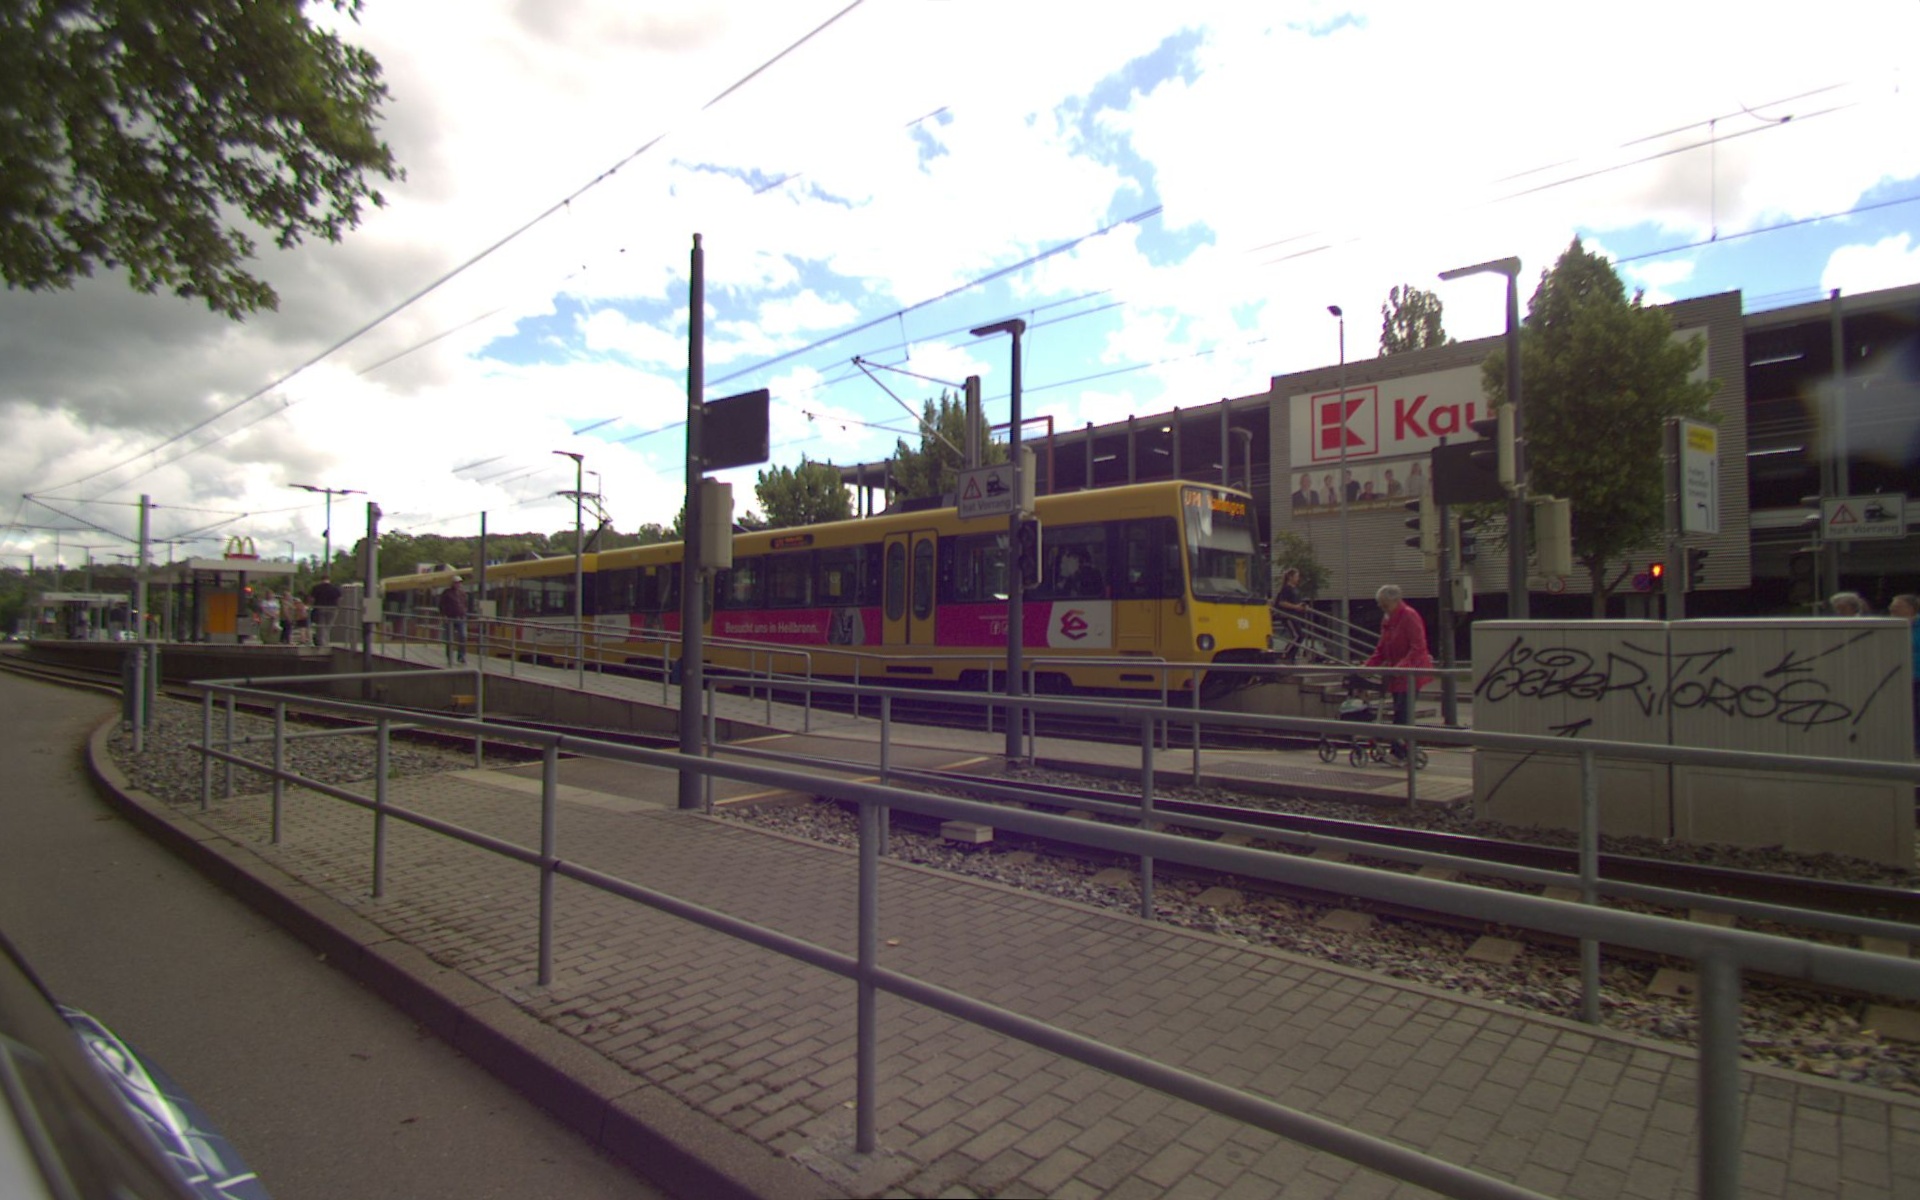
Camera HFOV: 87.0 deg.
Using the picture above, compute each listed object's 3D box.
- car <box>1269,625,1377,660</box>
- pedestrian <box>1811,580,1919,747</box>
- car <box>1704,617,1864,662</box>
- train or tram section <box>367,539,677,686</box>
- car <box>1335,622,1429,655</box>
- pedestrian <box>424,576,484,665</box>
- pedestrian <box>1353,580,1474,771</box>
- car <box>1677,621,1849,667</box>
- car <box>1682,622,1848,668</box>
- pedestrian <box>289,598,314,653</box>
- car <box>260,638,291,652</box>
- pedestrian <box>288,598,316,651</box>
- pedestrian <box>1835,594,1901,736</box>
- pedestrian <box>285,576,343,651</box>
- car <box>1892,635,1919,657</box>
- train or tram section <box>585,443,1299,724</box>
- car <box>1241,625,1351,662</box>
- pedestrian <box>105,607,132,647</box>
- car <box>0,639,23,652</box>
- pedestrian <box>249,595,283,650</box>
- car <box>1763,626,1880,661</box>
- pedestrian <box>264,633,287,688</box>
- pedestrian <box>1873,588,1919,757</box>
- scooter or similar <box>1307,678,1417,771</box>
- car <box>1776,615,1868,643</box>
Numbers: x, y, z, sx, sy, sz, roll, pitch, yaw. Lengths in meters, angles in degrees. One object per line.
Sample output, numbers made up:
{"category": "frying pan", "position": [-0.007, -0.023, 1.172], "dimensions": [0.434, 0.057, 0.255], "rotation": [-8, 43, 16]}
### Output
{"category": "car", "position": [15.544, 1.831, 43.463], "dimensions": [4.000, 1.414, 1.758], "rotation": [-2, -4, 44]}
{"category": "pedestrian", "position": [9.711, 0.675, 10.855], "dimensions": [0.646, 1.711, 0.730], "rotation": [3, -4, -37]}
{"category": "car", "position": [28.640, 1.383, 35.265], "dimensions": [4.197, 1.443, 1.821], "rotation": [-2, -4, 42]}
{"category": "train or tram section", "position": [-15.709, 0.722, 34.392], "dimensions": [18.635, 3.912, 2.725], "rotation": [-3, -3, 44]}
{"category": "car", "position": [20.531, 1.859, 49.329], "dimensions": [3.869, 1.526, 1.735], "rotation": [-2, -3, 43]}
{"category": "pedestrian", "position": [-9.969, 0.416, 19.936], "dimensions": [0.790, 1.691, 0.763], "rotation": [-2, -4, 42]}
{"category": "pedestrian", "position": [4.162, 0.681, 9.324], "dimensions": [0.604, 1.666, 0.798], "rotation": [3, -4, -26]}
{"category": "car", "position": [24.728, 1.336, 31.262], "dimensions": [4.070, 1.334, 1.618], "rotation": [-2, -3, 42]}
{"category": "car", "position": [26.658, 1.491, 33.583], "dimensions": [4.197, 1.443, 1.821], "rotation": [-2, -4, 42]}
{"category": "pedestrian", "position": [-18.151, 0.714, 27.902], "dimensions": [0.469, 1.494, 0.543], "rotation": [4, -4, -39]}
{"category": "car", "position": [-65.612, 4.287, 97.015], "dimensions": [4.031, 1.360, 1.595], "rotation": [-2, -3, 43]}
{"category": "pedestrian", "position": [-17.797, 0.659, 27.378], "dimensions": [0.411, 1.416, 0.474], "rotation": [-2, -4, 41]}
{"category": "pedestrian", "position": [11.044, 0.782, 12.315], "dimensions": [0.510, 1.675, 0.466], "rotation": [3, -4, -37]}
{"category": "pedestrian", "position": [-14.832, 0.328, 23.264], "dimensions": [0.734, 1.691, 0.877], "rotation": [1, -3, -4]}
{"category": "car", "position": [62.748, 2.998, 65.324], "dimensions": [3.684, 1.410, 1.424], "rotation": [-2, -4, 40]}
{"category": "train or tram section", "position": [-2.332, 0.057, 21.352], "dimensions": [18.636, 3.858, 2.725], "rotation": [-2, -3, 44]}
{"category": "car", "position": [13.849, 1.798, 41.844], "dimensions": [4.000, 1.409, 1.758], "rotation": [-2, -4, 44]}
{"category": "pedestrian", "position": [-37.882, 1.204, 45.548], "dimensions": [0.937, 1.757, 0.740], "rotation": [-2, -4, 42]}
{"category": "car", "position": [-117.354, 5.616, 125.112], "dimensions": [1.937, 1.564, 4.007], "rotation": [3, -4, -38]}
{"category": "pedestrian", "position": [-19.310, 0.628, 28.157], "dimensions": [0.512, 1.494, 0.583], "rotation": [2, -3, -10]}
{"category": "car", "position": [31.983, 1.610, 37.609], "dimensions": [3.217, 1.234, 1.422], "rotation": [-2, -3, 43]}
{"category": "pedestrian", "position": [-18.660, 1.641, 27.582], "dimensions": [0.639, 1.476, 0.357], "rotation": [-2, -3, 42]}
{"category": "pedestrian", "position": [9.577, 0.703, 9.797], "dimensions": [0.703, 1.624, 0.943], "rotation": [3, -4, -37]}
{"category": "scooter or similar", "position": [3.616, 1.102, 9.143], "dimensions": [0.489, 0.774, 0.801], "rotation": [3, -4, -27]}
{"category": "car", "position": [40.408, 1.377, 47.480], "dimensions": [3.217, 1.234, 1.422], "rotation": [-2, -4, 43]}
